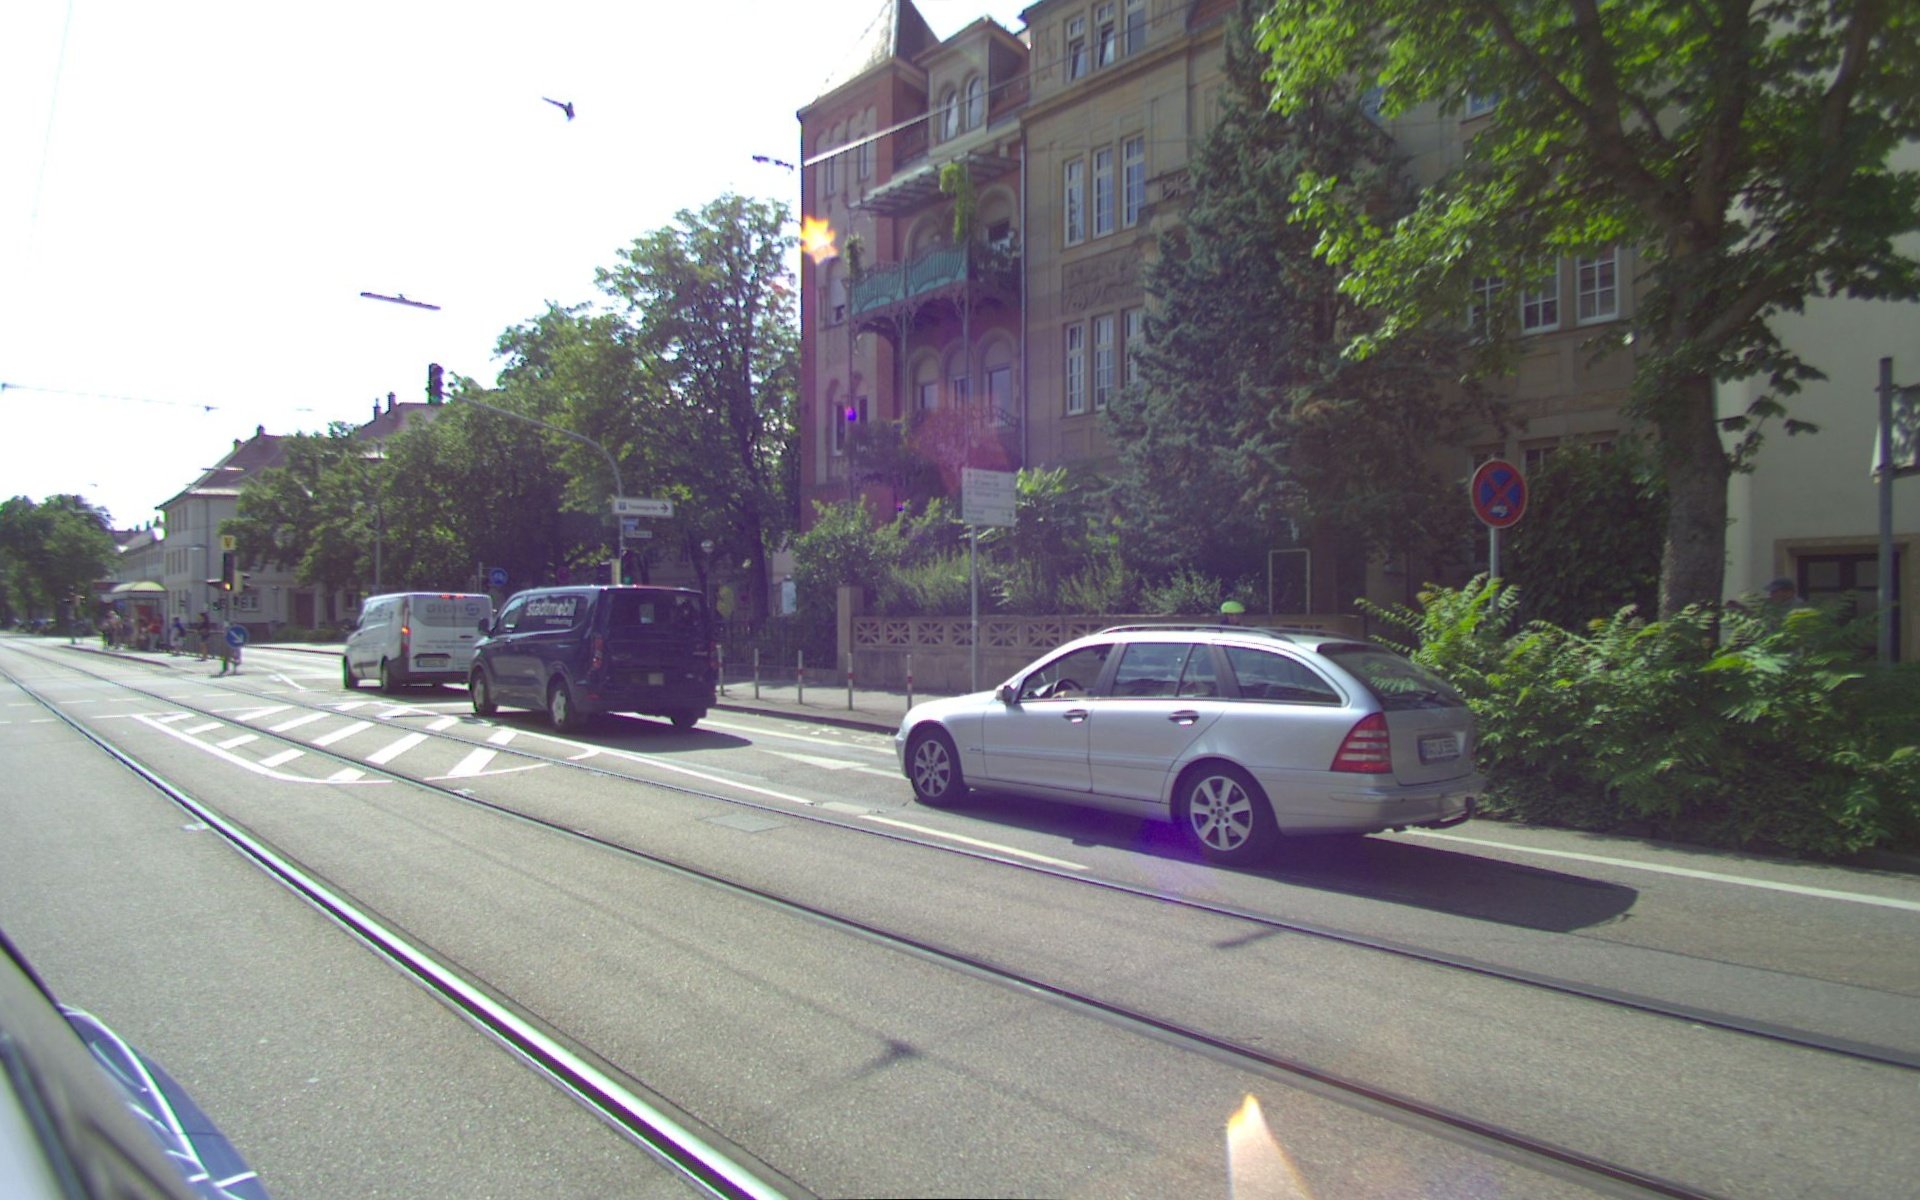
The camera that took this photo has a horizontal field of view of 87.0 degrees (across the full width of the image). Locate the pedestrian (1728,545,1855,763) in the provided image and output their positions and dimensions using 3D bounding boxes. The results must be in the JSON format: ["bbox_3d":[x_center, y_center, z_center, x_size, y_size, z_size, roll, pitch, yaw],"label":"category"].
[{"bbox_3d":[8.092,0.496,9.873,0.477,2.029,0.807,-1,1,-14],"label":"pedestrian"}]

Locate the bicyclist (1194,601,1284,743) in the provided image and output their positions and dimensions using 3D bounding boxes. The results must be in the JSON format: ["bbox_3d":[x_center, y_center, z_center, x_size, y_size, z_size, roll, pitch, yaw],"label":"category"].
[{"bbox_3d":[3.458,0.858,12.541,0.702,1.657,0.940,-1,1,42],"label":"bicyclist"}]

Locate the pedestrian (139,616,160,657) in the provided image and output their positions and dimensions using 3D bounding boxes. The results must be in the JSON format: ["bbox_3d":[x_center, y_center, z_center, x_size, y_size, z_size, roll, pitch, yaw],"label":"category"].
[{"bbox_3d":[-33.823,1.539,42.228,0.746,1.669,0.467,-1,-6,43],"label":"pedestrian"}]

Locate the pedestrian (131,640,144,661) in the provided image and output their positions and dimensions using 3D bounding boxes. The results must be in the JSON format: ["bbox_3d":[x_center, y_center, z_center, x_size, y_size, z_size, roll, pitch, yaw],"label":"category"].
[{"bbox_3d":[-36.817,2.246,45.310,0.345,0.937,0.336,0,-3,37],"label":"pedestrian"}]

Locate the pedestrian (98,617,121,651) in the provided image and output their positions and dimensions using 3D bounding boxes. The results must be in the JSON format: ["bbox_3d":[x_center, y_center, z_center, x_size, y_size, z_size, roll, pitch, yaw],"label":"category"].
[{"bbox_3d":[-41.758,1.663,49.685,0.638,1.619,0.649,0,-3,38],"label":"pedestrian"}]

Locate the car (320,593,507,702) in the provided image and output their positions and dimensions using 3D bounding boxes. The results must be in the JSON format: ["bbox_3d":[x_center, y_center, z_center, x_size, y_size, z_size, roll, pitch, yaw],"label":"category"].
[{"bbox_3d":[-11.450,0.975,21.028,5.090,2.010,1.971,-2,-3,44],"label":"car"}]

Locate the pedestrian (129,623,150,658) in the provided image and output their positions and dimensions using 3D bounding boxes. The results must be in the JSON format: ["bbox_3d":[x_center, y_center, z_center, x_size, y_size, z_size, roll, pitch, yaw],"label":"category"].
[{"bbox_3d":[-35.015,1.743,43.182,0.692,1.468,0.523,-1,-3,42],"label":"pedestrian"}]

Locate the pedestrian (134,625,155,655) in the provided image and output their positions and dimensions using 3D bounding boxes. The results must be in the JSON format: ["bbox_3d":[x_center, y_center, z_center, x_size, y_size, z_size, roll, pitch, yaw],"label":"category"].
[{"bbox_3d":[-36.523,1.793,45.346,0.405,1.347,0.597,0,-3,38],"label":"pedestrian"}]

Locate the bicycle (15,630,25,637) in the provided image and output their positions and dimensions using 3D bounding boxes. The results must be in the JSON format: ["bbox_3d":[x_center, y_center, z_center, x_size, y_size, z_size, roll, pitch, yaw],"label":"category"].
[{"bbox_3d":[-120.967,4.333,130.200,1.617,0.855,0.745,-1,-2,40],"label":"bicycle"}]

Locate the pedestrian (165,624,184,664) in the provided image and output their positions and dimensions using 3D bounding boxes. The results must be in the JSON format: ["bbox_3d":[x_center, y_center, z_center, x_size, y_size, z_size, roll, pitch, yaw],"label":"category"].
[{"bbox_3d":[-29.775,1.656,38.337,0.704,1.515,0.423,-1,-3,44],"label":"pedestrian"}]

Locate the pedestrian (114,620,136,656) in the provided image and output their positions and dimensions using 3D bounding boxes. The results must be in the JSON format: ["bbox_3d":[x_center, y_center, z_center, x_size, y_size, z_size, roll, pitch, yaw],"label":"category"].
[{"bbox_3d":[-39.290,1.799,47.626,0.639,1.654,0.648,-1,-4,44],"label":"pedestrian"}]

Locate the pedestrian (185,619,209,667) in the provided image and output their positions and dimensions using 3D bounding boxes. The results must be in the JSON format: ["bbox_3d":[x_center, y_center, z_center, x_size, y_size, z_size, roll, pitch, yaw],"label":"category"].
[{"bbox_3d":[-25.041,1.408,33.215,0.516,1.554,0.531,-4,-4,43],"label":"pedestrian"}]

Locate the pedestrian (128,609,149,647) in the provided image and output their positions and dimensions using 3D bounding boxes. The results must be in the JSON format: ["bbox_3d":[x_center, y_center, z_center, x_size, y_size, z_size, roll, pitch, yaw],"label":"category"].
[{"bbox_3d":[-36.913,1.245,45.472,0.677,1.682,0.492,0,-3,38],"label":"pedestrian"}]

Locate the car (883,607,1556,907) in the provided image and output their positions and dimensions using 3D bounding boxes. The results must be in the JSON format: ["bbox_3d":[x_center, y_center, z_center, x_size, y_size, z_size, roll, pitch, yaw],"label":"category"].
[{"bbox_3d":[1.505,0.886,7.276,1.672,1.492,4.486,3,-4,-43],"label":"car"}]

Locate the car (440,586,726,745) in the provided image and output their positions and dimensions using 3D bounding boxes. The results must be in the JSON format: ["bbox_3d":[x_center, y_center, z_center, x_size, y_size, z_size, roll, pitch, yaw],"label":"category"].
[{"bbox_3d":[-5.659,0.862,14.771,1.905,1.932,5.126,4,-3,-45],"label":"car"}]

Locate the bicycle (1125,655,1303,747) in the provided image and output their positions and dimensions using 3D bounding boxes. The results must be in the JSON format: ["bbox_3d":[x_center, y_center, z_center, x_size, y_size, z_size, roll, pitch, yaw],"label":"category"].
[{"bbox_3d":[3.139,1.214,12.598,1.860,0.940,0.988,-2,2,43],"label":"bicycle"}]

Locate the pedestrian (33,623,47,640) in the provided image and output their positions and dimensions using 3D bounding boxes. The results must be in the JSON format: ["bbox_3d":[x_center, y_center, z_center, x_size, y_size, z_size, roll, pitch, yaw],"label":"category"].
[{"bbox_3d":[-81.159,2.759,89.300,0.806,1.484,0.795,-2,-2,40],"label":"pedestrian"}]
